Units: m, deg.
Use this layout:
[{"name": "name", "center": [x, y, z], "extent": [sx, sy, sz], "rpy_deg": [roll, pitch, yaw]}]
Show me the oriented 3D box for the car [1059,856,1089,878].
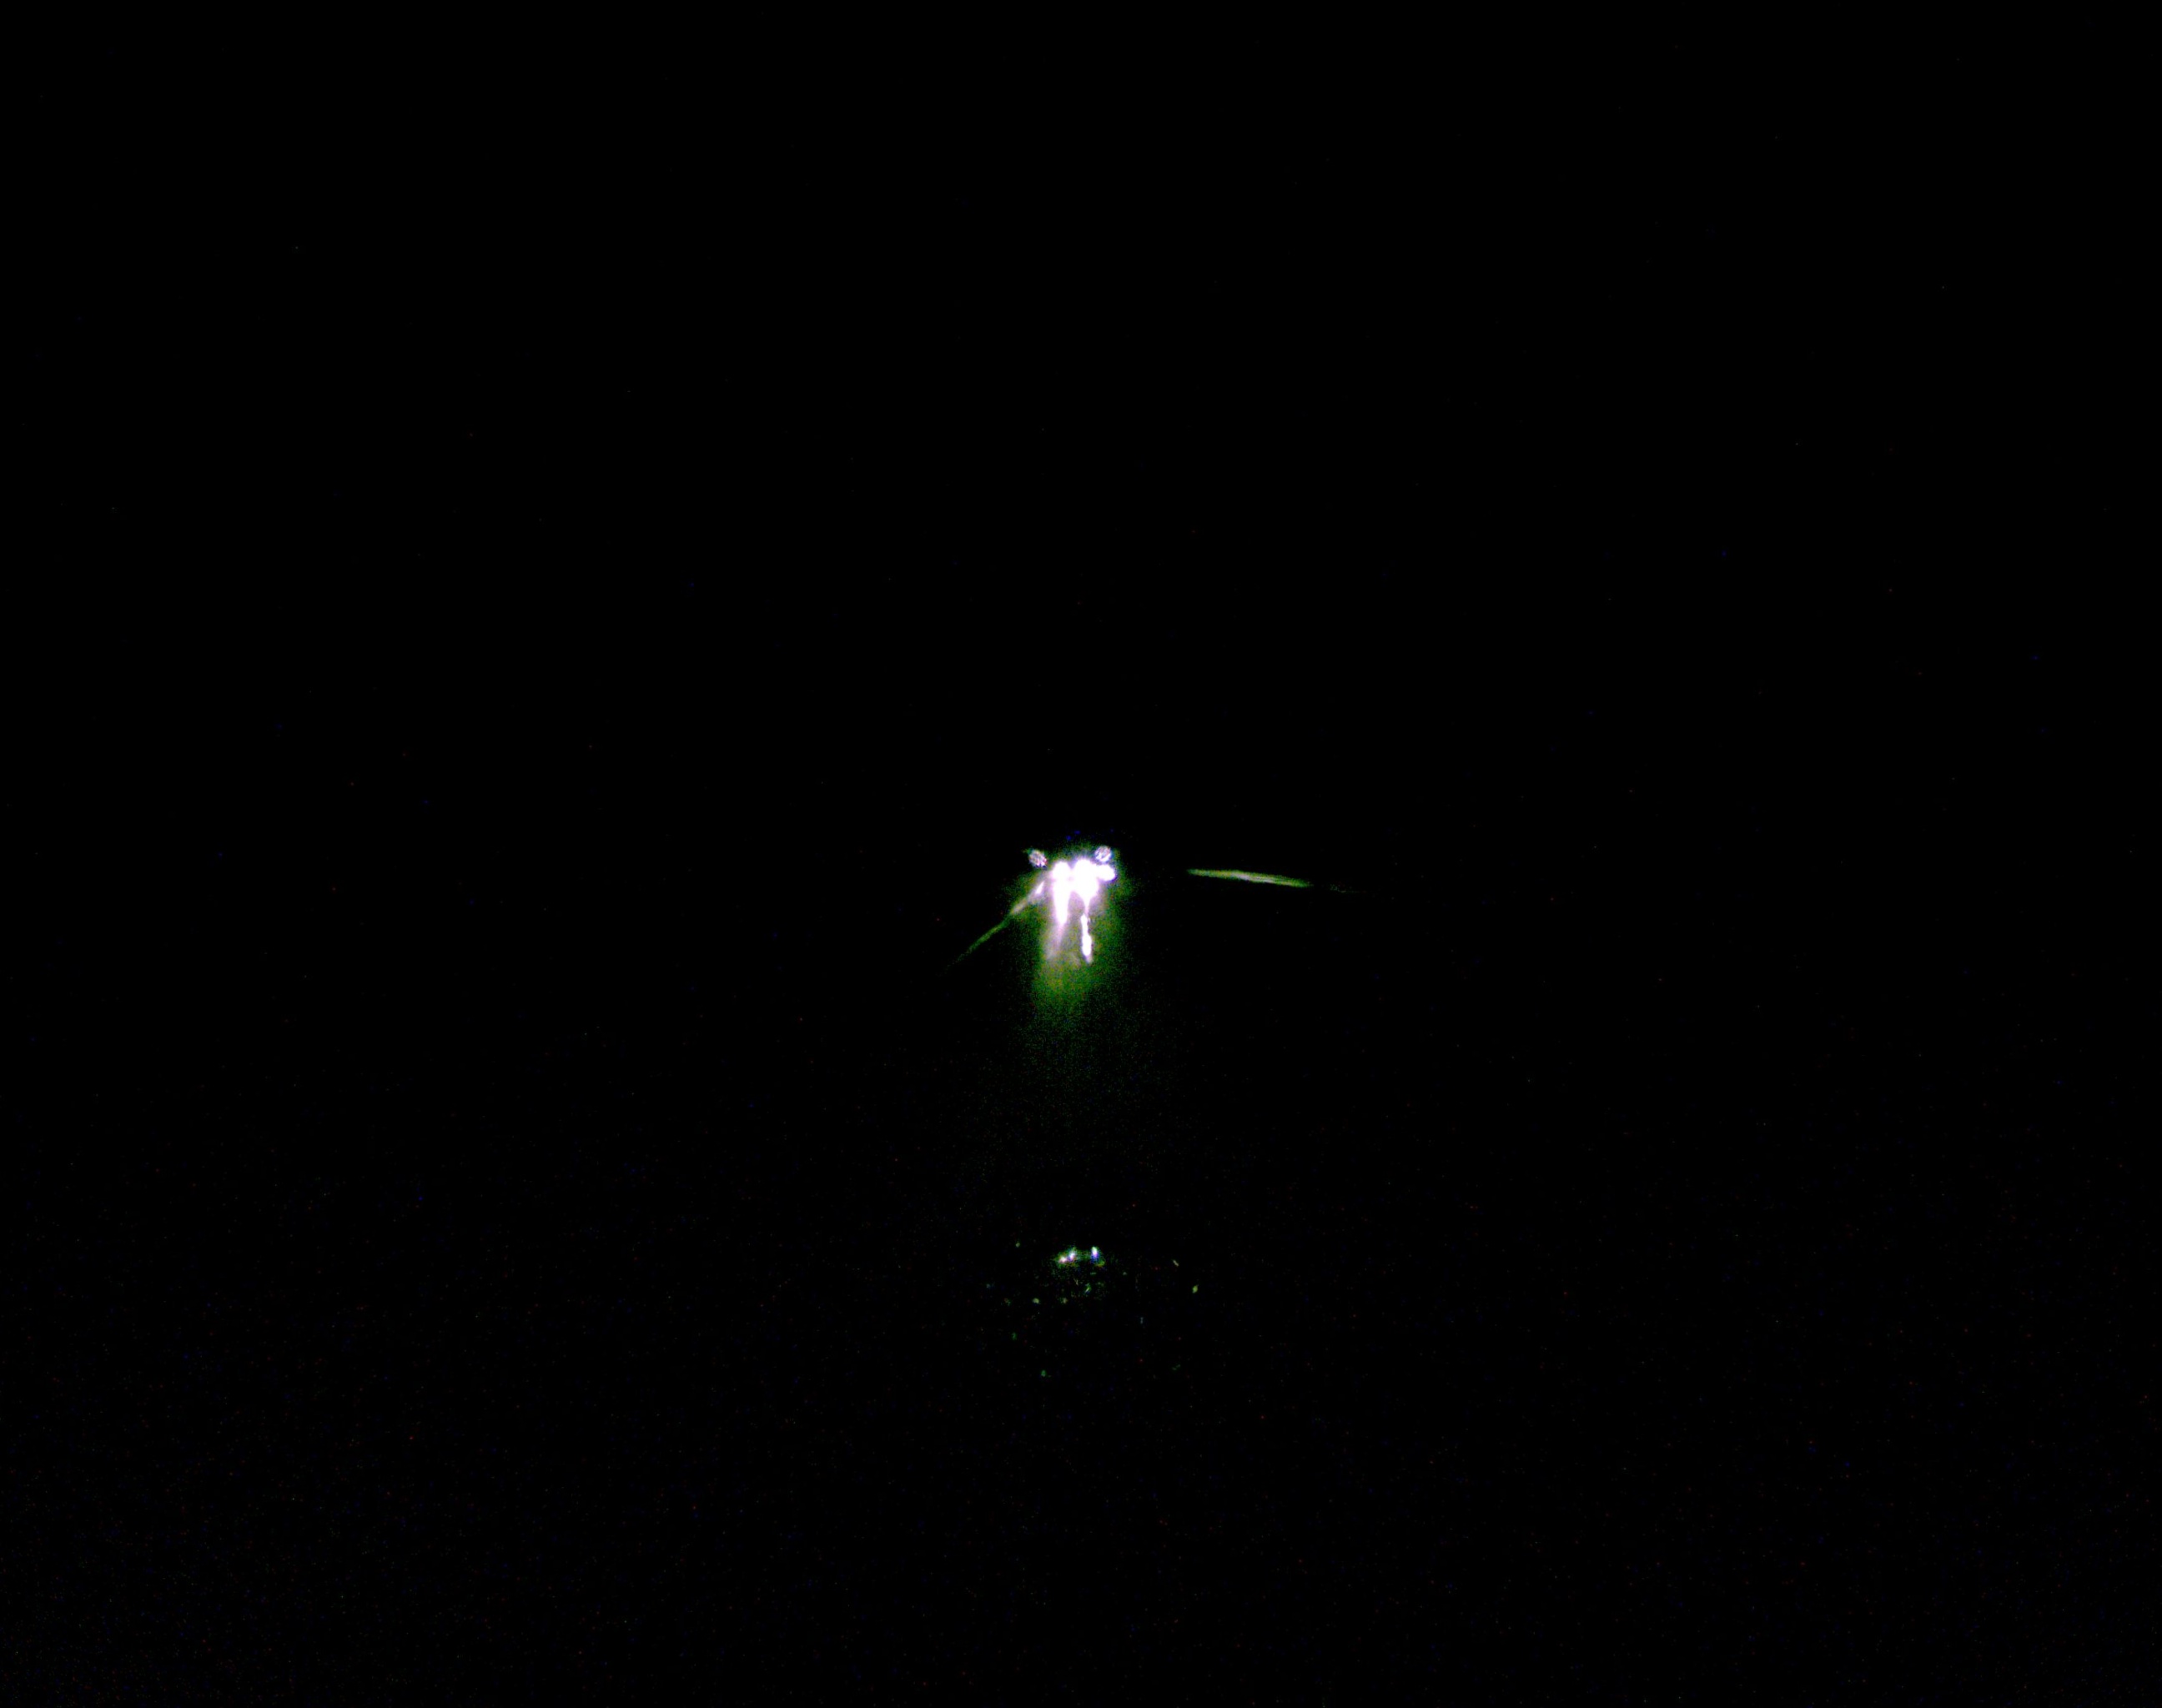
[{"name": "car", "center": [-0.547, 0.894, 54.424], "extent": [1.777, 1.444, 4.134], "rpy_deg": [-3, 0, -5]}]
